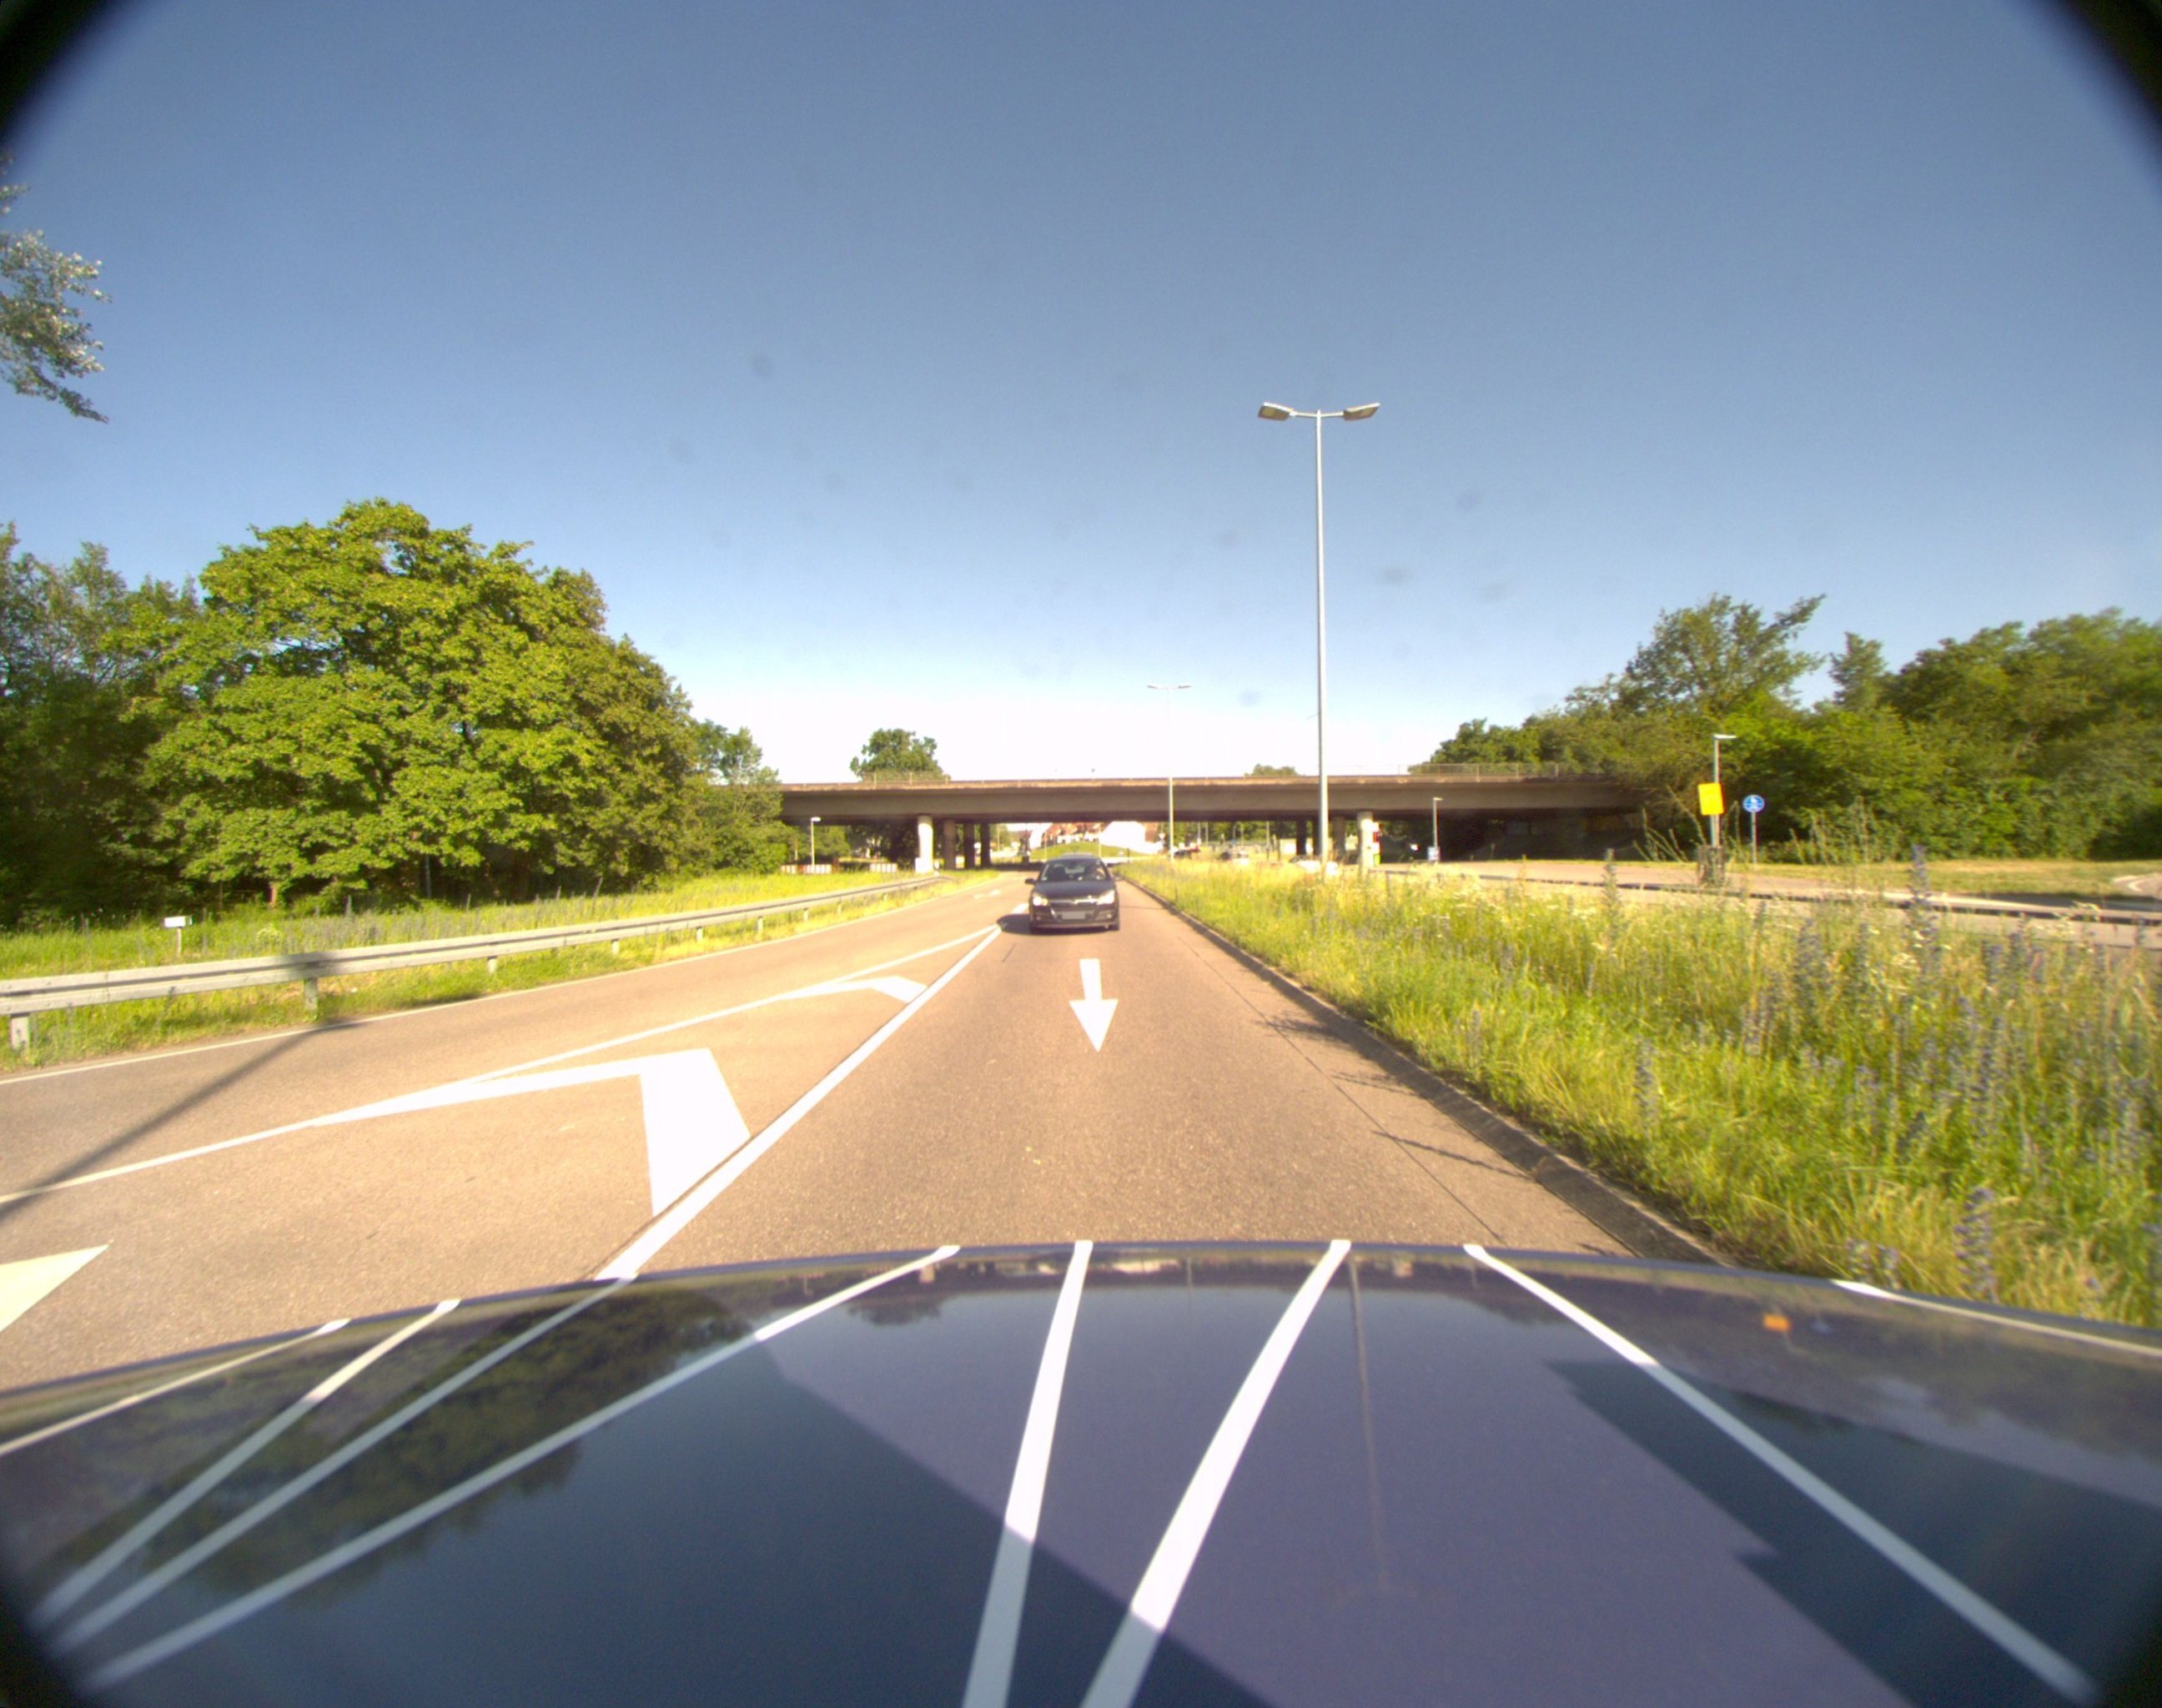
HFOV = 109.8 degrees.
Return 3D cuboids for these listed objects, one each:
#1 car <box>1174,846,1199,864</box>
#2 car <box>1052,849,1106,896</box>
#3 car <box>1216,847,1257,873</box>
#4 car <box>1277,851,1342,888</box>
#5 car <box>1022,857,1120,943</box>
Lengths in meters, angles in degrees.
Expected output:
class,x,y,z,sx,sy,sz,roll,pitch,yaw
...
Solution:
class,x,y,z,sx,sy,sz,roll,pitch,yaw
car,9.427,0.062,68.174,1.637,1.521,3.591,-1,1,-3
car,-0.029,0.635,28.540,1.827,1.528,4.042,-2,1,1
car,9.714,0.364,47.655,1.637,1.521,3.591,-1,1,-4
car,9.821,0.631,32.999,1.636,1.436,4.103,-1,1,1
car,-0.123,0.835,15.627,1.706,1.447,3.959,-2,1,2
